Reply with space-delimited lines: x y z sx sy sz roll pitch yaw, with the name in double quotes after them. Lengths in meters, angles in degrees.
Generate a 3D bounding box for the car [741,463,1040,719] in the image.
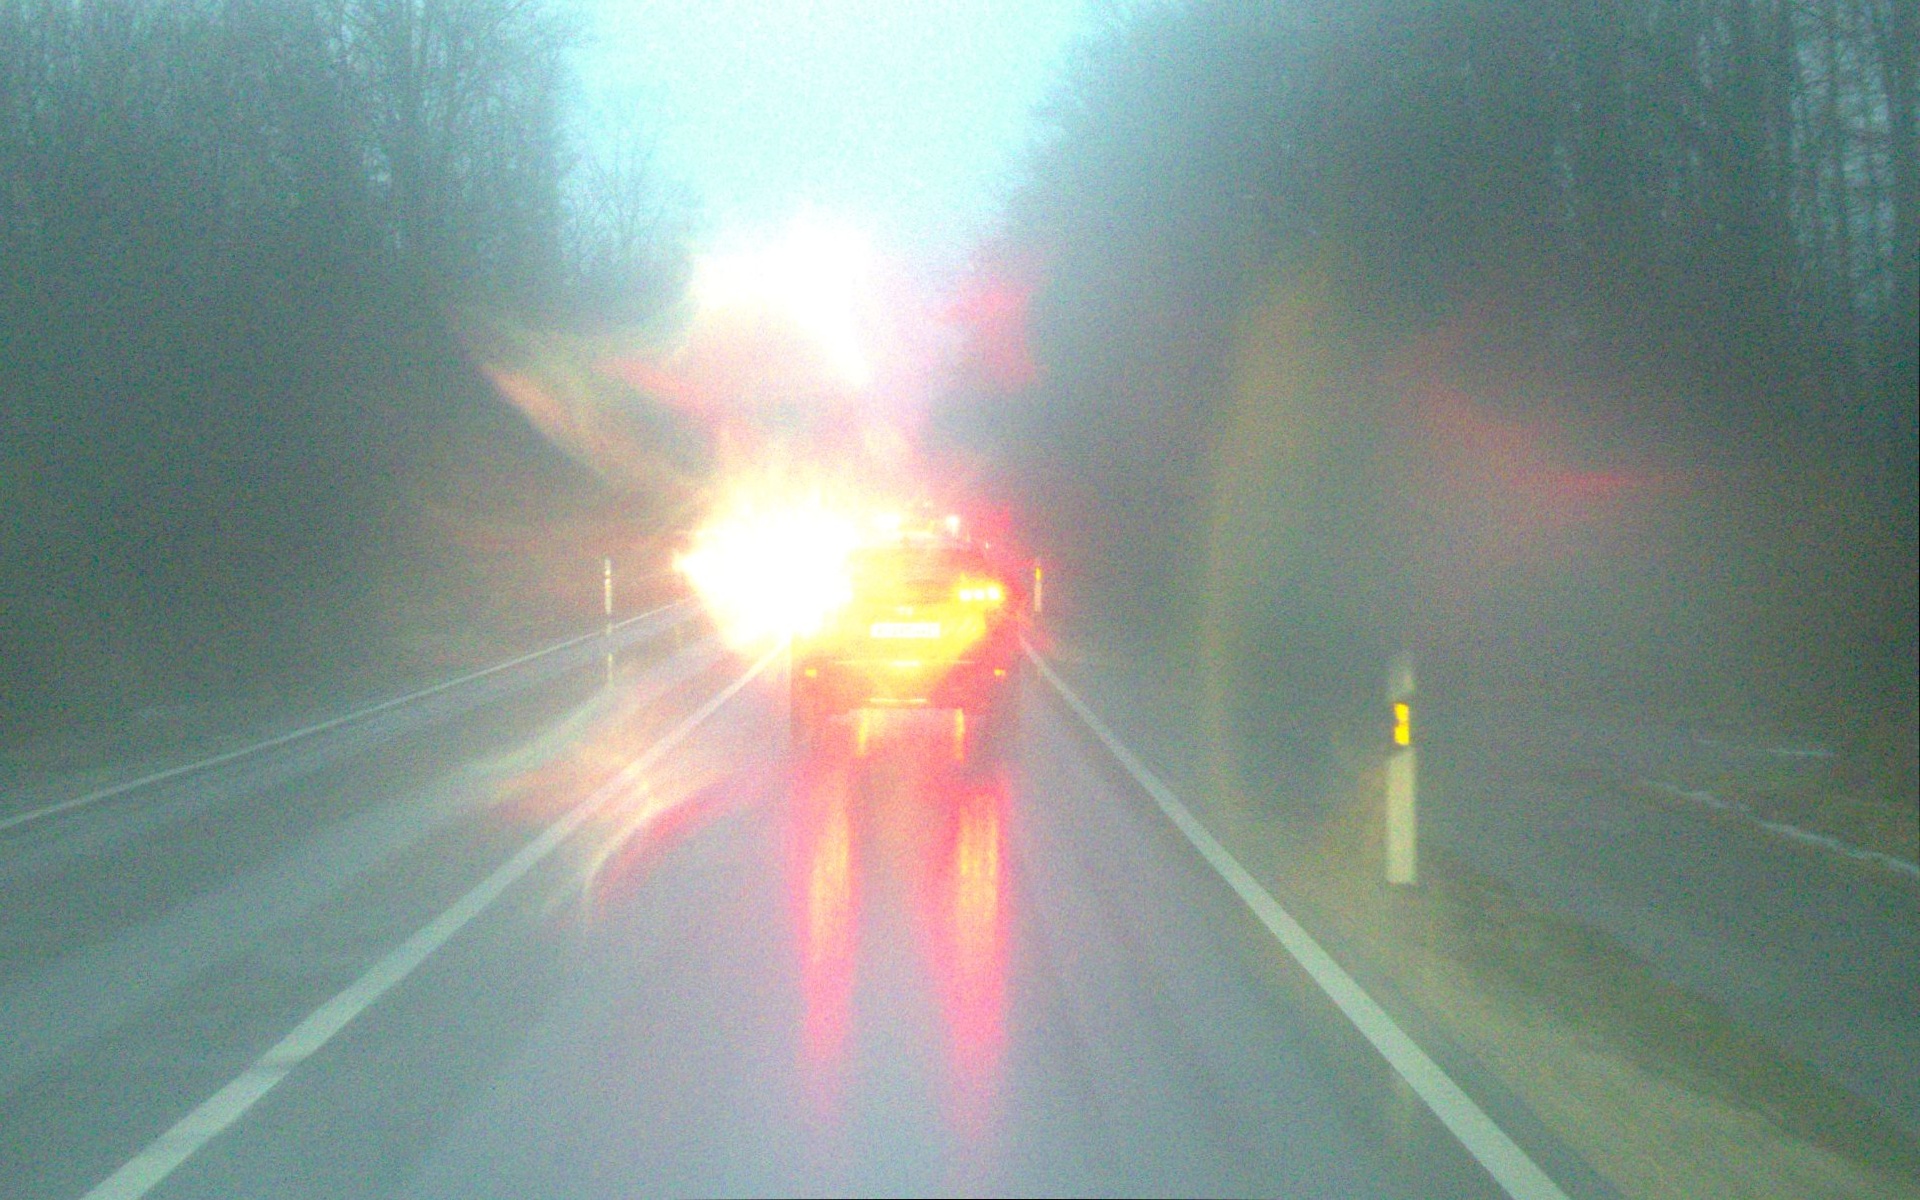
-0.562 -0.128 27.900 2.198 1.871 4.827 1 1 -1 "car"
